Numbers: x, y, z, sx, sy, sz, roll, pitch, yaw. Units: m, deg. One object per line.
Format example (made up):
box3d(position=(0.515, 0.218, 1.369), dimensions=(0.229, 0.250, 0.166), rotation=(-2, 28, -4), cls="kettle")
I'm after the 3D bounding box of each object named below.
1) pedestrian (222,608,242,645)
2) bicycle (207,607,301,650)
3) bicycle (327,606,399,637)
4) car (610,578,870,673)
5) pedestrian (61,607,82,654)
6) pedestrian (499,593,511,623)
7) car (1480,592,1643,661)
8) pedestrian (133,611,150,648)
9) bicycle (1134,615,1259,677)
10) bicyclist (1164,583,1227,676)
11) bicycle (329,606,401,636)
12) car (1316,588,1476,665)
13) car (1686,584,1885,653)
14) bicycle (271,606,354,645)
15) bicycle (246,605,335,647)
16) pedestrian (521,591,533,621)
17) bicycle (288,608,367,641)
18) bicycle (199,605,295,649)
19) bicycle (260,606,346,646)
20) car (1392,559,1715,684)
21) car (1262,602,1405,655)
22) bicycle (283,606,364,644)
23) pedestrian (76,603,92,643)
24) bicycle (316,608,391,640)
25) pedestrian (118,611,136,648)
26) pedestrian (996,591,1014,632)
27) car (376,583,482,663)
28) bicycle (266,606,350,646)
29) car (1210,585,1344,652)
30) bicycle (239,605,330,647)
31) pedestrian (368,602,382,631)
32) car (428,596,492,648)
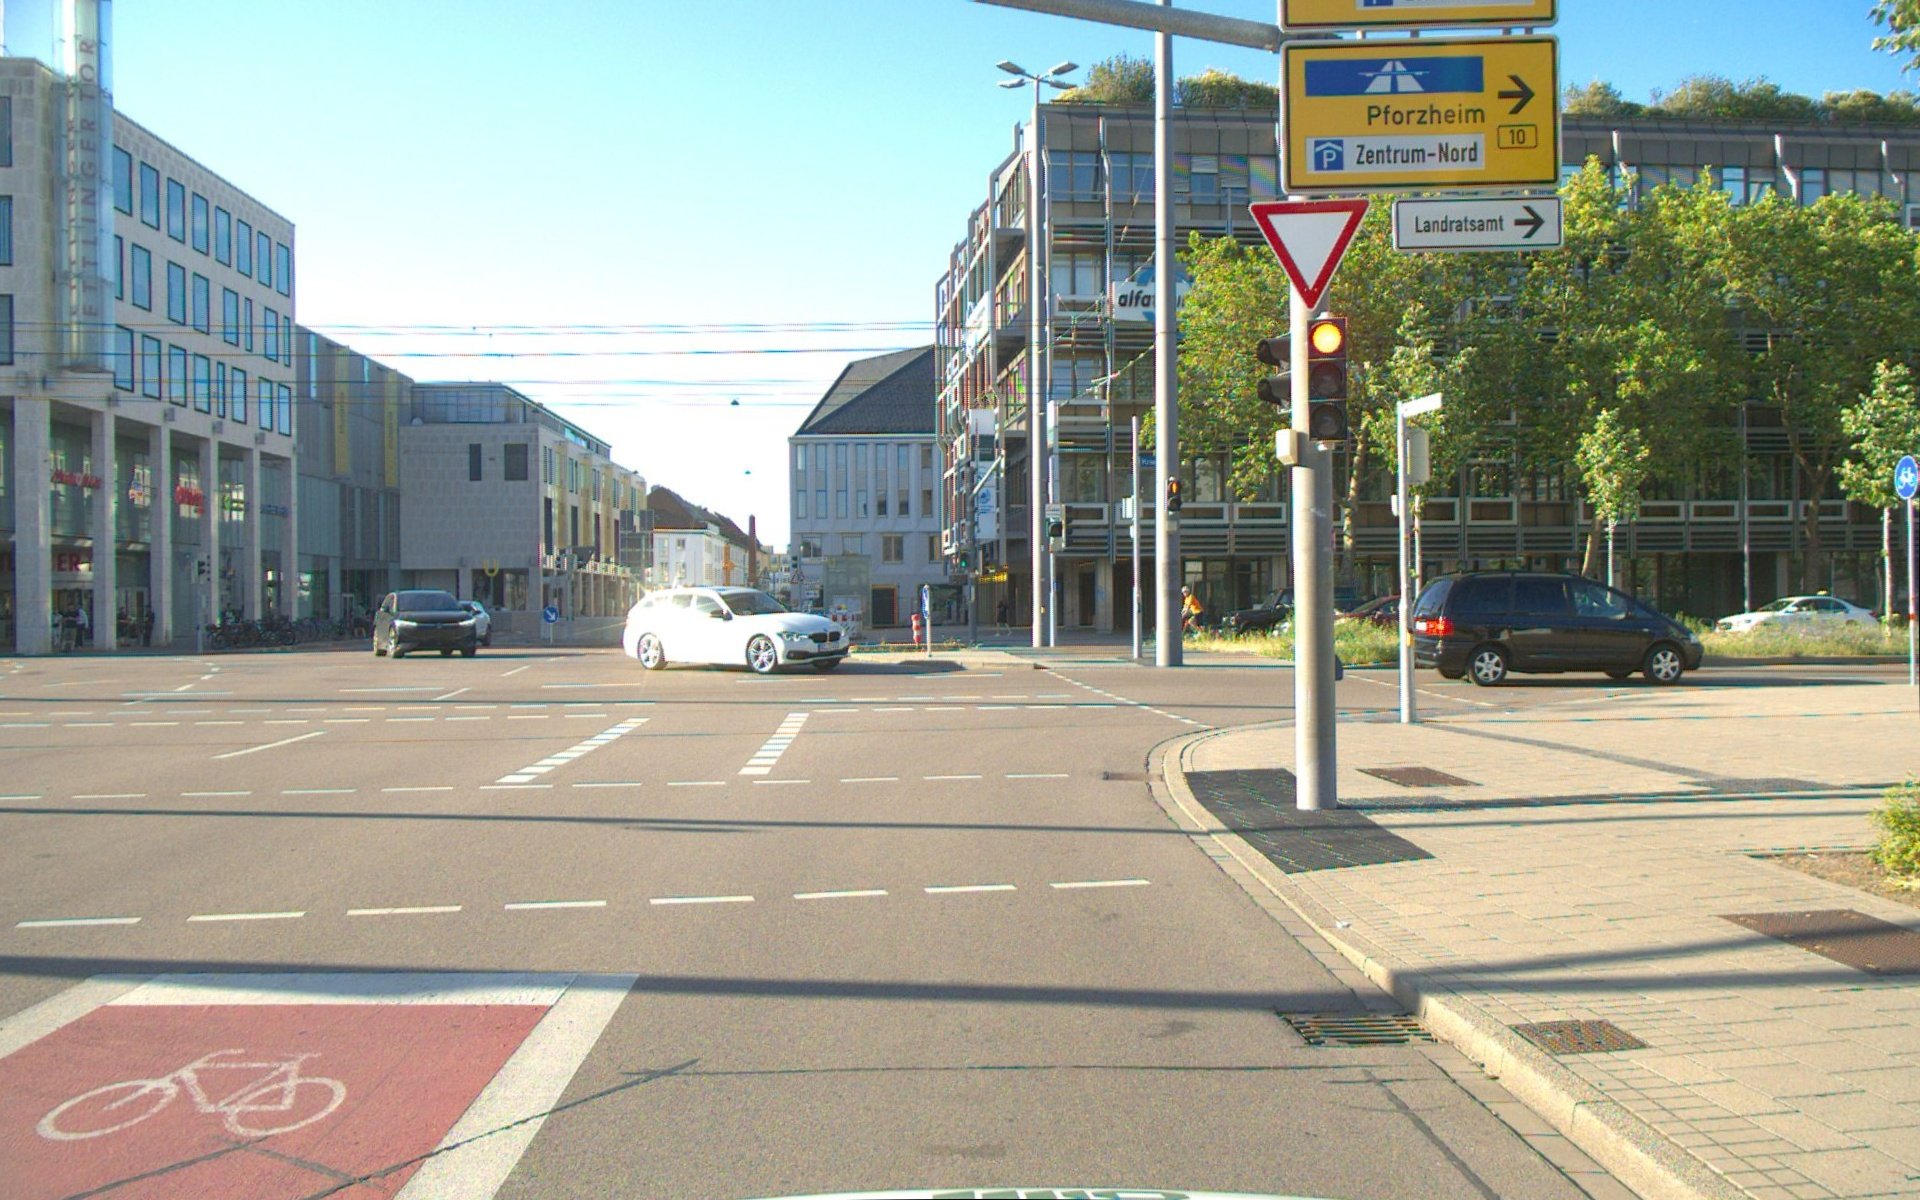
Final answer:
box3d(position=(-33.145, 1.204, 75.314), dimensions=(0.772, 1.671, 0.691), rotation=(-1, 0, -18), cls="pedestrian")
box3d(position=(-29.552, 1.169, 69.259), dimensions=(3.427, 1.726, 1.114), rotation=(-1, 0, -10), cls="bicycle")
box3d(position=(-31.066, 1.118, 86.130), dimensions=(3.430, 1.554, 0.984), rotation=(-1, 0, -12), cls="bicycle")
box3d(position=(-3.971, 0.424, 29.502), dimensions=(4.613, 1.554, 1.990), rotation=(-1, 0, 39), cls="car")
box3d(position=(-32.583, 1.113, 60.653), dimensions=(0.531, 1.671, 0.548), rotation=(-1, 0, -15), cls="pedestrian")
box3d(position=(-31.227, 0.535, 113.472), dimensions=(0.613, 2.049, 0.734), rotation=(-1, 0, 1), cls="pedestrian")
box3d(position=(18.832, 0.822, 51.882), dimensions=(4.359, 2.049, 1.998), rotation=(1, 0, -6), cls="car")
box3d(position=(-34.731, 1.241, 70.197), dimensions=(0.472, 1.537, 0.513), rotation=(-1, 0, -5), cls="pedestrian")
box3d(position=(6.753, 1.302, 47.225), dimensions=(3.427, 1.688, 0.929), rotation=(-1, 0, -10), cls="bicycle")
box3d(position=(6.723, 0.833, 47.225), dimensions=(1.539, 2.625, 0.930), rotation=(-1, 0, -10), cls="bicyclist")
box3d(position=(-31.383, 1.106, 87.247), dimensions=(3.430, 1.554, 0.984), rotation=(-1, 0, -12), cls="bicycle")
box3d(position=(12.236, 0.734, 46.580), dimensions=(3.908, 2.049, 1.999), rotation=(1, 0, -3), cls="car")
box3d(position=(26.177, 0.580, 52.577), dimensions=(5.332, 2.049, 2.096), rotation=(1, 0, -3), cls="car")
box3d(position=(-30.033, 1.177, 76.784), dimensions=(3.430, 1.726, 0.984), rotation=(-1, 0, -12), cls="bicycle")
box3d(position=(-29.093, 1.122, 71.928), dimensions=(3.427, 1.726, 1.114), rotation=(-1, 0, -10), cls="bicycle")
box3d(position=(-30.209, 0.401, 115.411), dimensions=(0.613, 2.049, 0.734), rotation=(-1, 0, 1), cls="pedestrian")
box3d(position=(-30.536, 1.169, 79.859), dimensions=(3.430, 1.554, 0.984), rotation=(-1, 0, -12), cls="bicycle")
box3d(position=(-29.317, 1.112, 68.036), dimensions=(3.427, 1.726, 1.114), rotation=(-1, 0, -10), cls="bicycle")
box3d(position=(-29.568, 1.167, 74.497), dimensions=(3.430, 1.726, 0.984), rotation=(-1, 0, -12), cls="bicycle")
box3d(position=(9.303, 0.304, 26.168), dimensions=(4.382, 1.788, 2.000), rotation=(-1, 2, -2), cls="car")
box3d(position=(11.444, 0.865, 50.818), dimensions=(3.908, 1.534, 1.867), rotation=(1, 0, -4), cls="car")
box3d(position=(-30.332, 1.186, 78.870), dimensions=(3.430, 1.726, 0.984), rotation=(-1, 0, -12), cls="bicycle")
box3d(position=(-35.757, 0.949, 67.510), dimensions=(0.420, 1.613, 0.498), rotation=(-1, 0, -5), cls="pedestrian")
box3d(position=(-30.879, 1.210, 84.269), dimensions=(3.430, 1.554, 0.984), rotation=(-1, 0, -12), cls="bicycle")
box3d(position=(-35.043, 1.245, 69.563), dimensions=(0.501, 1.537, 0.513), rotation=(-1, 0, -5), cls="pedestrian")
box3d(position=(1.854, 0.476, 67.813), dimensions=(0.650, 1.687, 0.755), rotation=(-1, 0, -4), cls="pedestrian")
box3d(position=(-12.554, 0.479, 38.916), dimensions=(1.966, 1.629, 4.920), rotation=(-1, 2, -23), cls="car")
box3d(position=(-29.792, 1.176, 75.585), dimensions=(3.430, 1.726, 0.984), rotation=(-1, 0, -12), cls="bicycle")
box3d(position=(10.309, 0.599, 53.921), dimensions=(3.908, 2.049, 1.999), rotation=(1, 0, -3), cls="car")
box3d(position=(-28.862, 1.086, 70.716), dimensions=(3.427, 1.726, 1.114), rotation=(-1, 0, -10), cls="bicycle")
box3d(position=(-33.830, 0.967, 95.606), dimensions=(0.641, 1.671, 0.693), rotation=(-1, 0, -9), cls="pedestrian")
box3d(position=(-17.476, 0.753, 57.914), dimensions=(1.961, 1.689, 4.388), rotation=(-1, 0, -15), cls="car")
